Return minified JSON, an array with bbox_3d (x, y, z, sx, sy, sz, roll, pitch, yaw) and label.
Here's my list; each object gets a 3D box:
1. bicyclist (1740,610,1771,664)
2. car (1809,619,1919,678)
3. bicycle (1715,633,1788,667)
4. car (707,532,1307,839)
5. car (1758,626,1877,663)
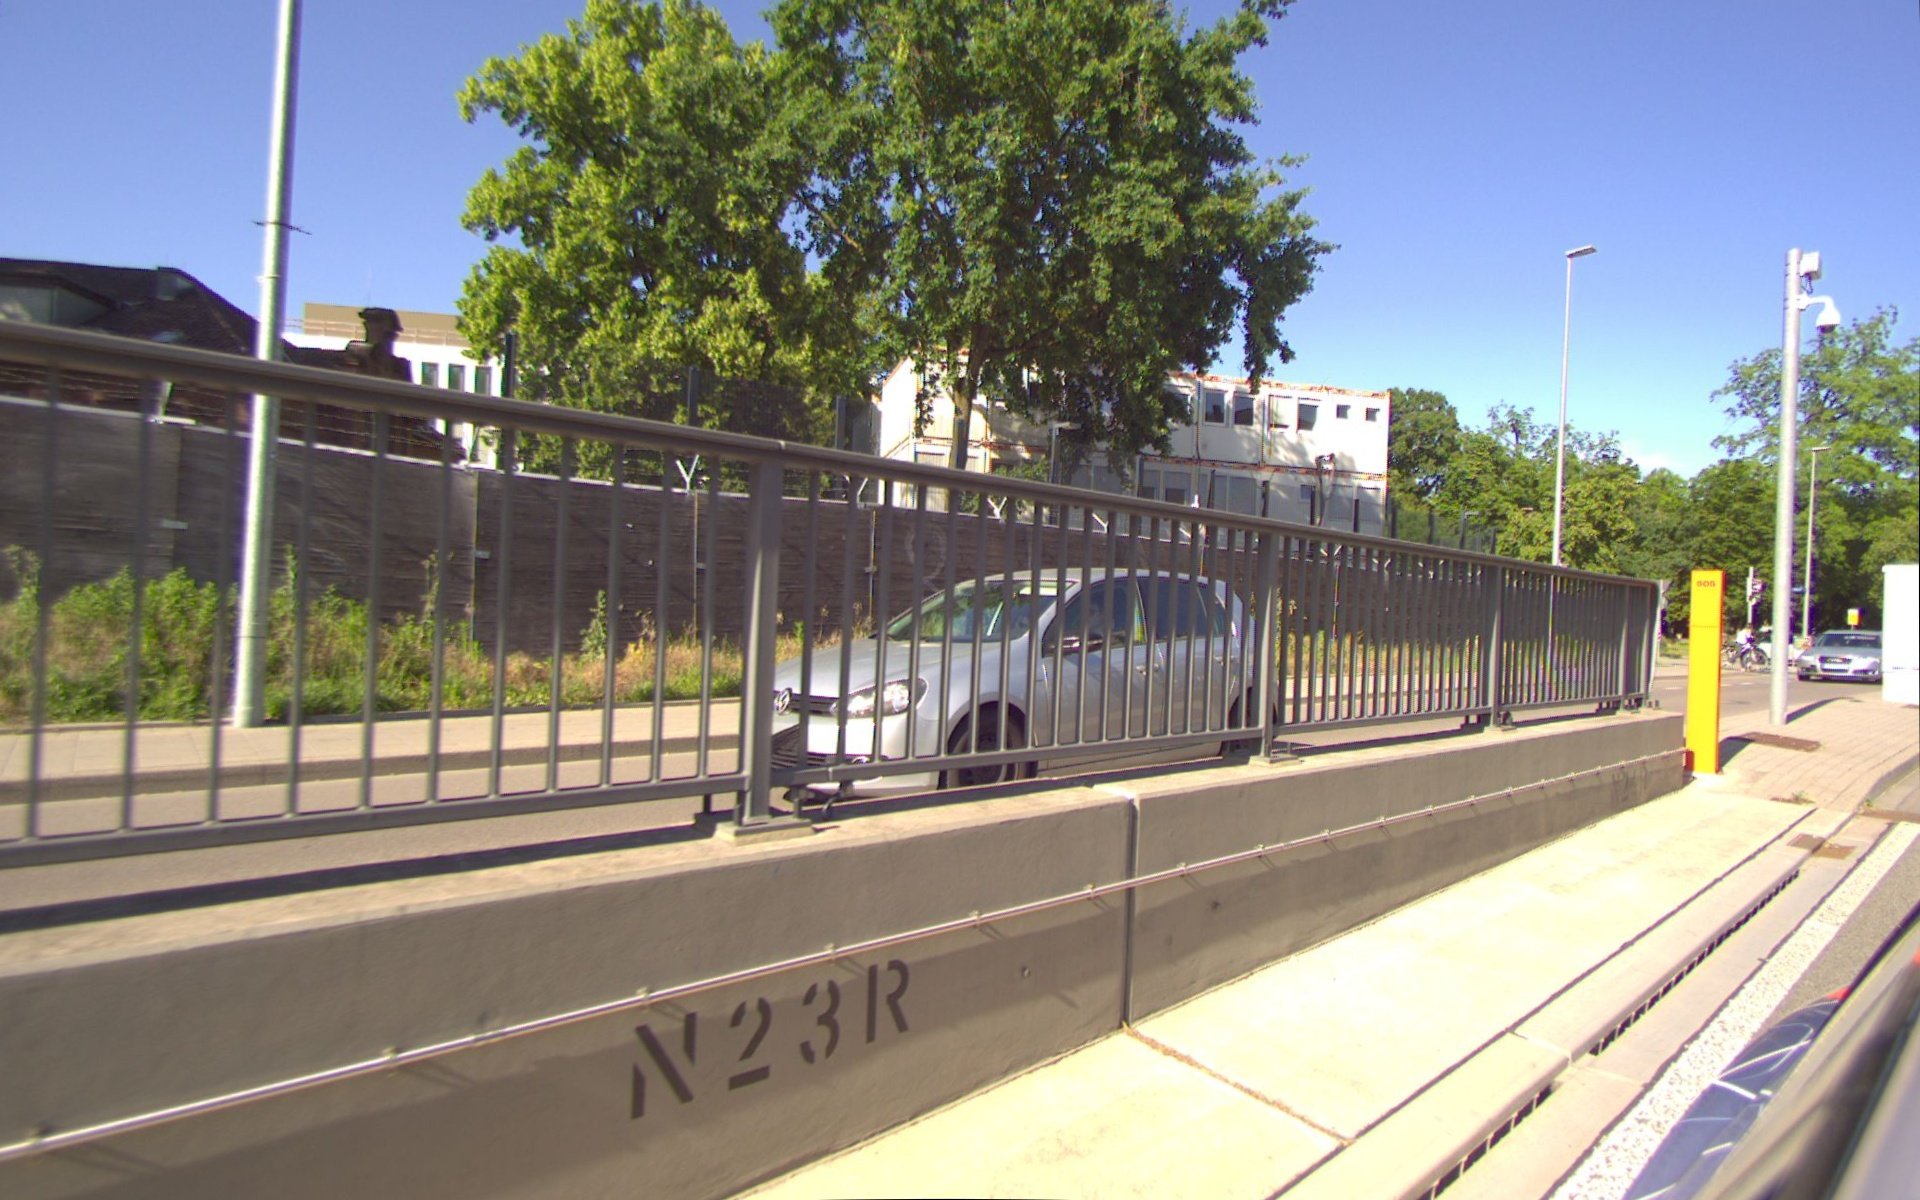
[{"bbox_3d":[26.264,1.215,33.407,0.696,1.730,0.650,5,2,38],"label":"bicyclist"},{"bbox_3d":[24.673,1.288,27.576,4.225,1.419,1.836,2,0,-43],"label":"car"},{"bbox_3d":[26.171,1.643,33.484,1.854,0.912,0.485,5,2,39],"label":"bicycle"},{"bbox_3d":[0.506,0.424,6.711,3.903,1.453,1.670,1,0,-41],"label":"car"},{"bbox_3d":[37.591,1.927,44.472,1.449,1.419,3.751,2,0,-18],"label":"car"}]
